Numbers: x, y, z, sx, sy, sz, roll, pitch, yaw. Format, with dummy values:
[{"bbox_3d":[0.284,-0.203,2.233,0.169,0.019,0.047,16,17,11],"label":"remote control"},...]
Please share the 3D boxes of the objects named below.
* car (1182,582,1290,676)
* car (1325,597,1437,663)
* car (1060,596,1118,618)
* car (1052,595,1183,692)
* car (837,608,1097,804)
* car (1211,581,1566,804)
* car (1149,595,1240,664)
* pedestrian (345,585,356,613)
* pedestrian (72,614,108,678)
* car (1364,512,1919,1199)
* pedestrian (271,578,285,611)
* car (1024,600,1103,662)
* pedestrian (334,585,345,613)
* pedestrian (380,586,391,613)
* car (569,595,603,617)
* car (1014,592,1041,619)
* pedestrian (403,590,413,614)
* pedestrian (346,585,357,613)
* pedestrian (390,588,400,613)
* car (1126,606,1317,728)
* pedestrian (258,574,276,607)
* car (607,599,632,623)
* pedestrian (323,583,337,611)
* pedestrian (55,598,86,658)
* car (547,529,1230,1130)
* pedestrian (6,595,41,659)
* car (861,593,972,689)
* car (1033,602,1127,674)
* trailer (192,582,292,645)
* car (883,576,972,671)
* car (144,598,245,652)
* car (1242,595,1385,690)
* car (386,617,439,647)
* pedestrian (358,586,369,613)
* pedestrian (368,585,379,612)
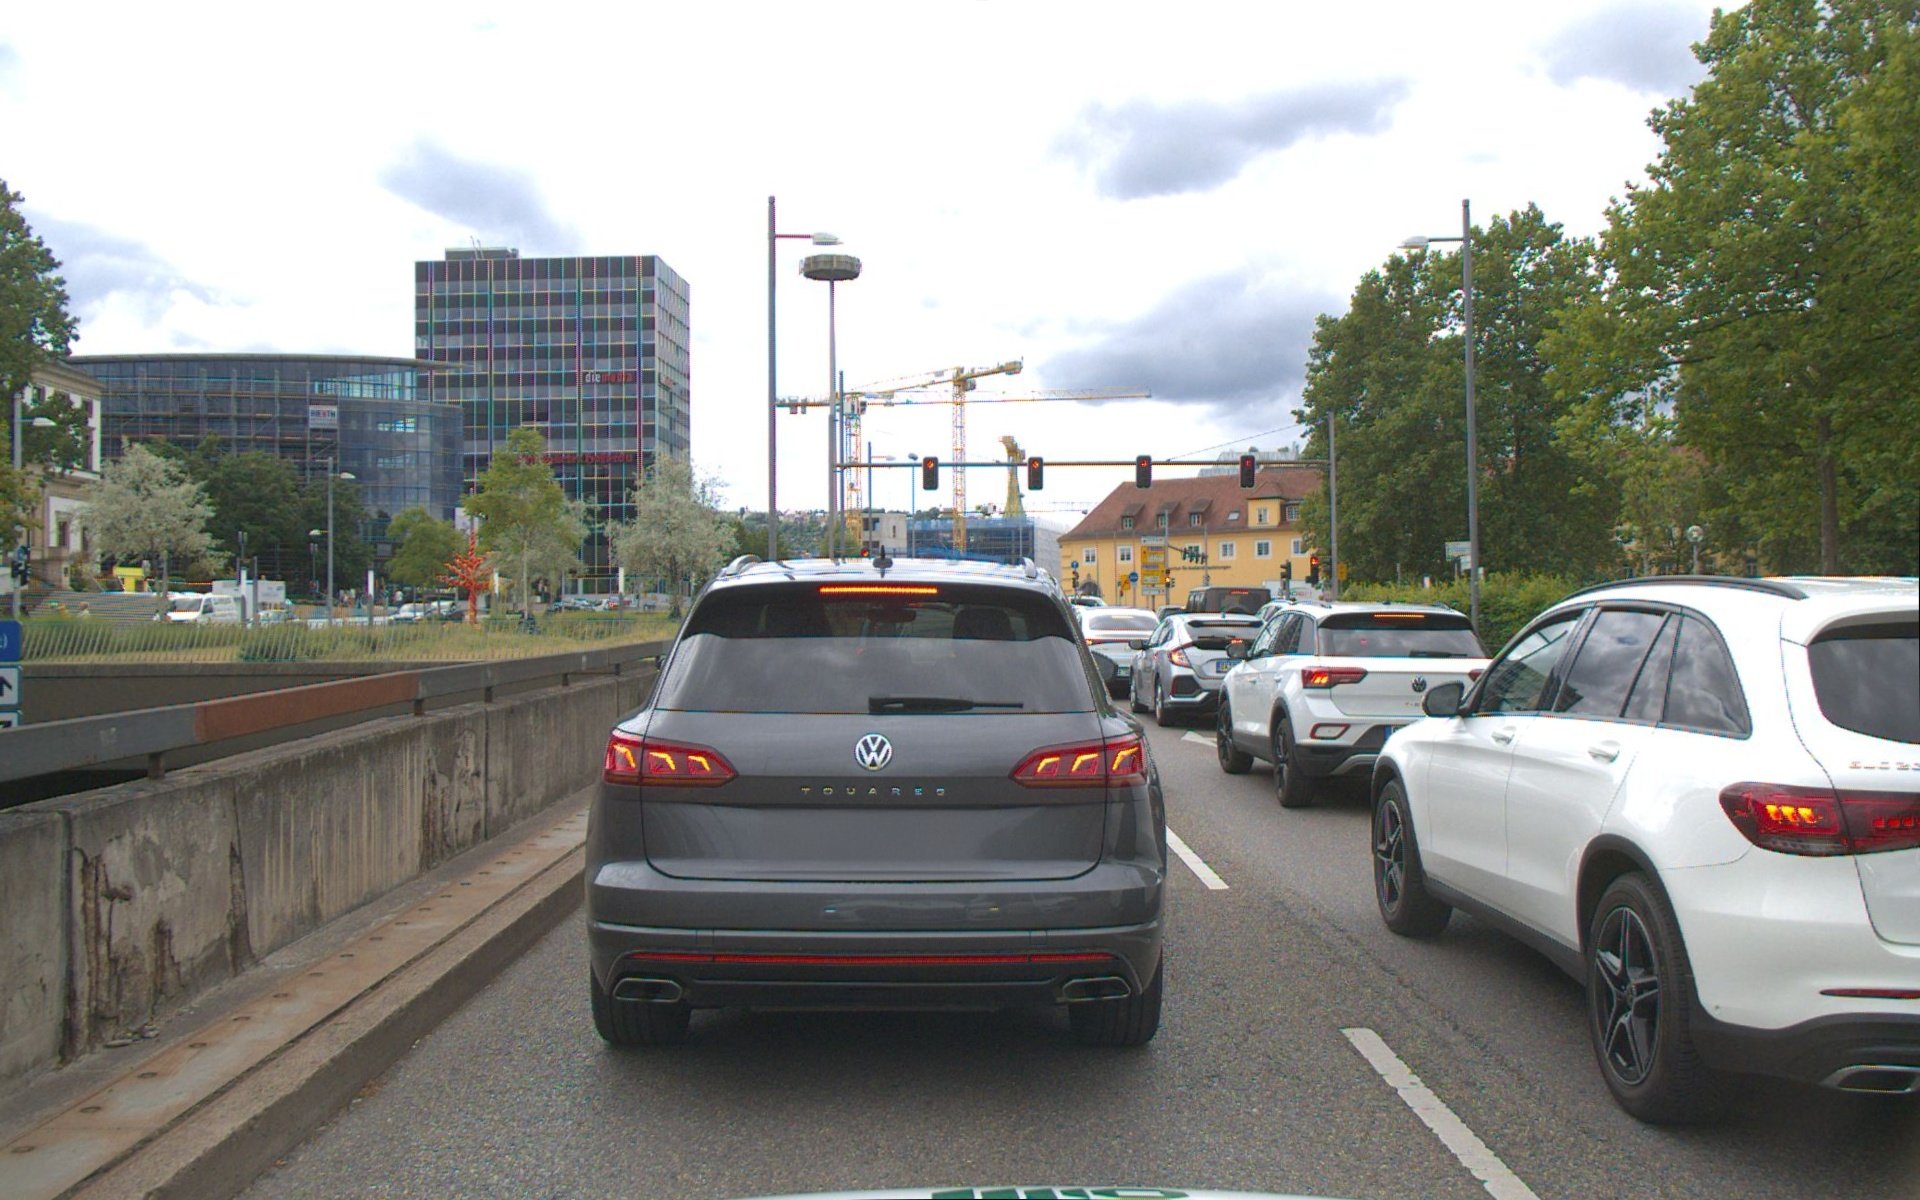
[{"bbox_3d":[6.481,0.679,39.206,1.871,2.049,4.011,2,-1,0],"label":"car"},{"bbox_3d":[10.167,0.742,40.241,1.891,1.485,4.529,1,-1,4],"label":"car"},{"bbox_3d":[10.012,0.510,128.645,4.142,1.631,1.746,1,-1,36],"label":"car"},{"bbox_3d":[2.669,0.733,28.959,1.887,1.556,4.489,1,-1,0],"label":"car"},{"bbox_3d":[0.020,0.808,14.392,1.912,1.408,3.930,2,0,-1],"label":"car"},{"bbox_3d":[3.409,0.687,14.076,1.887,1.578,4.489,1,-1,0],"label":"car"},{"bbox_3d":[6.301,0.792,44.782,1.871,1.727,4.011,2,-1,0],"label":"car"},{"bbox_3d":[-45.759,-0.087,124.126,0.727,2.049,0.915,-1,1,-20],"label":"pedestrian"},{"bbox_3d":[-28.147,1.477,53.505,0.856,2.049,0.619,-1,1,-45],"label":"pedestrian"},{"bbox_3d":[2.987,0.637,6.197,1.887,1.682,4.489,0,0,0],"label":"car"},{"bbox_3d":[-43.138,-0.349,104.596,0.727,2.049,0.788,0,-2,-19],"label":"pedestrian"},{"bbox_3d":[2.705,0.812,44.066,1.887,1.556,4.047,1,-1,0],"label":"car"},{"bbox_3d":[-47.037,-0.092,125.389,0.729,2.049,0.914,-1,1,-24],"label":"pedestrian"},{"bbox_3d":[-44.538,-0.066,128.228,0.726,2.049,0.789,-1,1,-16],"label":"pedestrian"},{"bbox_3d":[-36.861,0.563,162.909,1.973,2.048,4.643,-1,1,-31],"label":"car"},{"bbox_3d":[4.546,0.395,111.520,1.586,1.656,3.999,2,-1,0],"label":"car"},{"bbox_3d":[-46.492,0.151,139.308,0.726,2.049,0.789,-1,1,-16],"label":"pedestrian"},{"bbox_3d":[-46.029,-0.070,125.118,0.728,2.049,0.915,-1,1,-22],"label":"pedestrian"},{"bbox_3d":[-47.520,0.040,139.021,0.726,2.049,0.789,-1,1,-16],"label":"pedestrian"},{"bbox_3d":[3.386,0.834,22.243,1.887,1.457,4.489,1,-1,0],"label":"car"},{"bbox_3d":[-44.159,-0.618,105.395,0.724,2.049,1.113,-1,1,-6],"label":"pedestrian"},{"bbox_3d":[-30.681,0.972,148.986,1.957,2.048,4.682,0,1,-9],"label":"car"},{"bbox_3d":[-45.608,-0.216,119.758,0.723,2.049,0.793,-1,1,0],"label":"pedestrian"},{"bbox_3d":[-31.063,0.971,57.778,0.716,2.047,0.628,-1,4,-8],"label":"pedestrian"},{"bbox_3d":[-0.230,0.650,6.653,1.912,1.680,3.999,0,0,-1],"label":"car"},{"bbox_3d":[-30.547,0.871,53.940,0.830,2.049,0.781,-1,1,-42],"label":"pedestrian"},{"bbox_3d":[-0.800,0.719,31.009,1.912,1.628,3.930,2,0,-1],"label":"car"},{"bbox_3d":[2.684,0.845,37.778,1.887,1.556,4.047,1,-1,0],"label":"car"},{"bbox_3d":[-31.642,0.539,73.041,1.996,2.650,5.507,2,1,-1],"label":"trailer"},{"bbox_3d":[-0.756,0.526,38.545,1.912,2.053,3.930,2,0,-1],"label":"car"},{"bbox_3d":[-31.374,1.001,67.949,1.953,2.048,4.692,0,1,0],"label":"car"},{"bbox_3d":[6.648,0.740,31.506,1.952,1.668,4.306,0,0,2],"label":"car"},{"bbox_3d":[-29.026,1.692,87.762,1.697,1.521,3.592,2,-1,-3],"label":"car"},{"bbox_3d":[-45.089,-0.032,125.013,0.728,2.049,1.076,-1,1,-22],"label":"pedestrian"},{"bbox_3d":[-45.053,-0.113,126.978,0.726,2.049,0.789,-1,1,-16],"label":"pedestrian"}]
